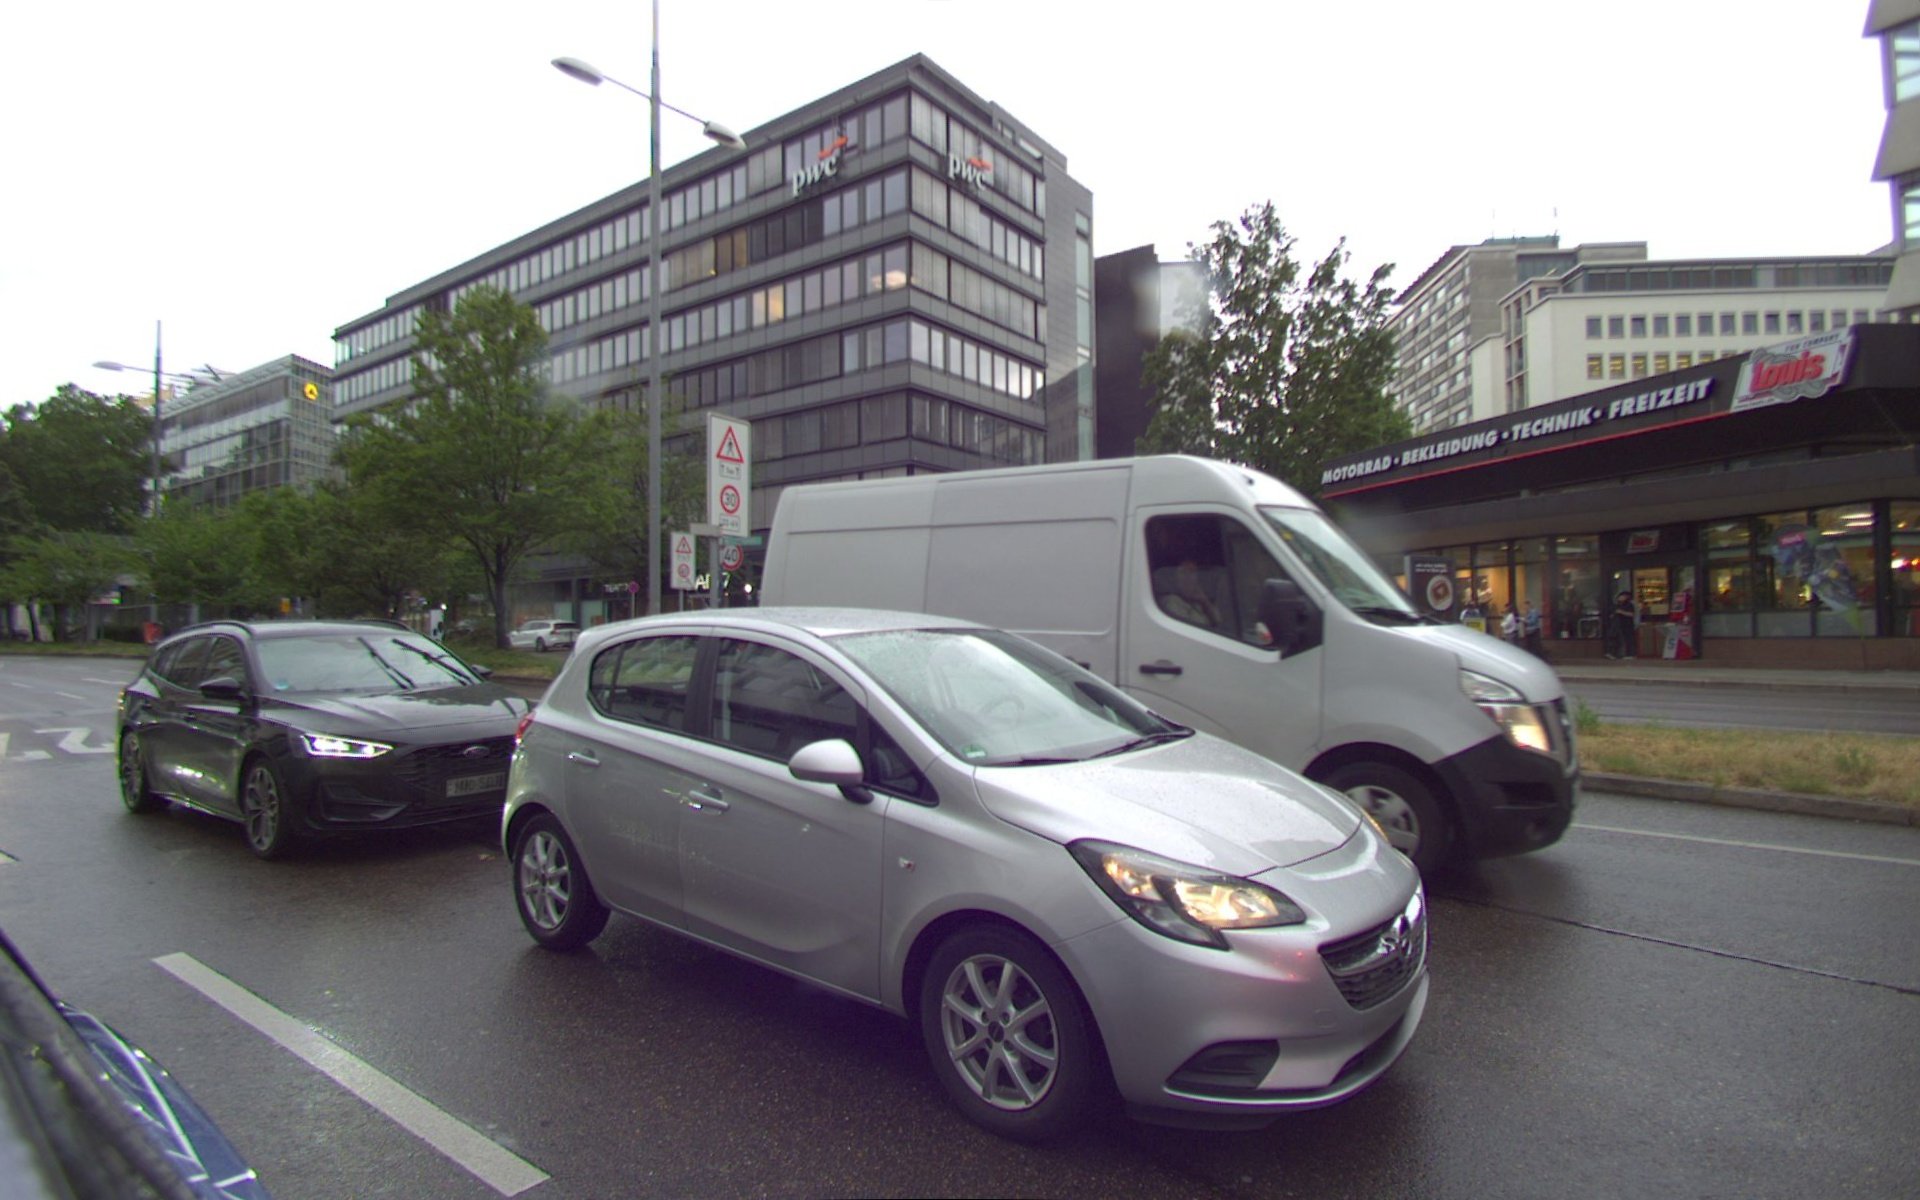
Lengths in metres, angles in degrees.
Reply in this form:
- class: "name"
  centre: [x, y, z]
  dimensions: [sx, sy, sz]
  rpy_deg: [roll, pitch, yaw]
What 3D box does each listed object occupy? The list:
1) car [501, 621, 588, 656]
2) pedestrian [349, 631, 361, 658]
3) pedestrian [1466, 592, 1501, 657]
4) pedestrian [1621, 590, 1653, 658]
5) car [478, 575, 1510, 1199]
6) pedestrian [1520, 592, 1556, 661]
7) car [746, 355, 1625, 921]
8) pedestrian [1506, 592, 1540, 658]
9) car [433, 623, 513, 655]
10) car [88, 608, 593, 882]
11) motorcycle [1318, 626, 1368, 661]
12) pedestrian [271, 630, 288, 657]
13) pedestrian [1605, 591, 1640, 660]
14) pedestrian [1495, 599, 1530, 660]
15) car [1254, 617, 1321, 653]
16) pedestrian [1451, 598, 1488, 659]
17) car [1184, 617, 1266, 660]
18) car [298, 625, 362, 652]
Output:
- class: "car"
  centre: [-19.402, 1.792, 47.248]
  dimensions: [3.992, 1.518, 1.975]
  rpy_deg: [-2, -1, 36]
- class: "pedestrian"
  centre: [-46.170, 3.404, 77.241]
  dimensions: [0.500, 2.029, 0.681]
  rpy_deg: [-2, -1, 38]
- class: "pedestrian"
  centre: [14.358, 0.667, 27.771]
  dimensions: [0.605, 1.757, 0.560]
  rpy_deg: [0, -1, -29]
- class: "pedestrian"
  centre: [17.582, 0.626, 26.290]
  dimensions: [0.501, 1.731, 0.447]
  rpy_deg: [-1, -1, -16]
- class: "car"
  centre: [-0.187, 0.712, 3.982]
  dimensions: [3.872, 1.446, 1.631]
  rpy_deg: [-2, -1, 40]
- class: "pedestrian"
  centre: [14.861, 0.676, 26.011]
  dimensions: [0.532, 1.757, 0.560]
  rpy_deg: [0, -1, -29]
- class: "car"
  centre: [1.131, 0.220, 6.837]
  dimensions: [5.471, 2.459, 1.928]
  rpy_deg: [-2, -1, 37]
- class: "pedestrian"
  centre: [15.148, 0.665, 27.229]
  dimensions: [0.532, 1.757, 0.560]
  rpy_deg: [0, -1, -29]
- class: "car"
  centre: [-24.591, 1.975, 51.098]
  dimensions: [4.100, 1.518, 1.975]
  rpy_deg: [-2, -1, 36]
- class: "car"
  centre: [-4.637, 0.829, 7.363]
  dimensions: [4.087, 1.446, 1.755]
  rpy_deg: [-2, -1, 37]
- class: "motorcycle"
  centre: [12.973, 1.459, 34.278]
  dimensions: [1.600, 1.153, 0.360]
  rpy_deg: [-1, -1, -8]
- class: "pedestrian"
  centre: [-50.471, 3.220, 75.102]
  dimensions: [0.539, 2.029, 0.917]
  rpy_deg: [-2, -1, 39]
- class: "pedestrian"
  centre: [16.834, 0.636, 25.724]
  dimensions: [0.516, 1.731, 0.500]
  rpy_deg: [-1, -1, -16]
- class: "pedestrian"
  centre: [14.569, 0.766, 26.680]
  dimensions: [0.532, 1.582, 0.560]
  rpy_deg: [0, -1, -29]
- class: "car"
  centre: [15.573, 1.628, 48.038]
  dimensions: [1.847, 1.596, 3.716]
  rpy_deg: [-2, -1, 37]
- class: "pedestrian"
  centre: [13.633, 0.759, 27.087]
  dimensions: [0.605, 1.623, 0.614]
  rpy_deg: [0, -1, -29]
- class: "car"
  centre: [10.676, 1.507, 40.637]
  dimensions: [1.847, 1.596, 3.716]
  rpy_deg: [-2, -1, 37]
- class: "car"
  centre: [-37.936, 2.298, 60.909]
  dimensions: [3.992, 1.518, 1.975]
  rpy_deg: [-2, -1, 36]
